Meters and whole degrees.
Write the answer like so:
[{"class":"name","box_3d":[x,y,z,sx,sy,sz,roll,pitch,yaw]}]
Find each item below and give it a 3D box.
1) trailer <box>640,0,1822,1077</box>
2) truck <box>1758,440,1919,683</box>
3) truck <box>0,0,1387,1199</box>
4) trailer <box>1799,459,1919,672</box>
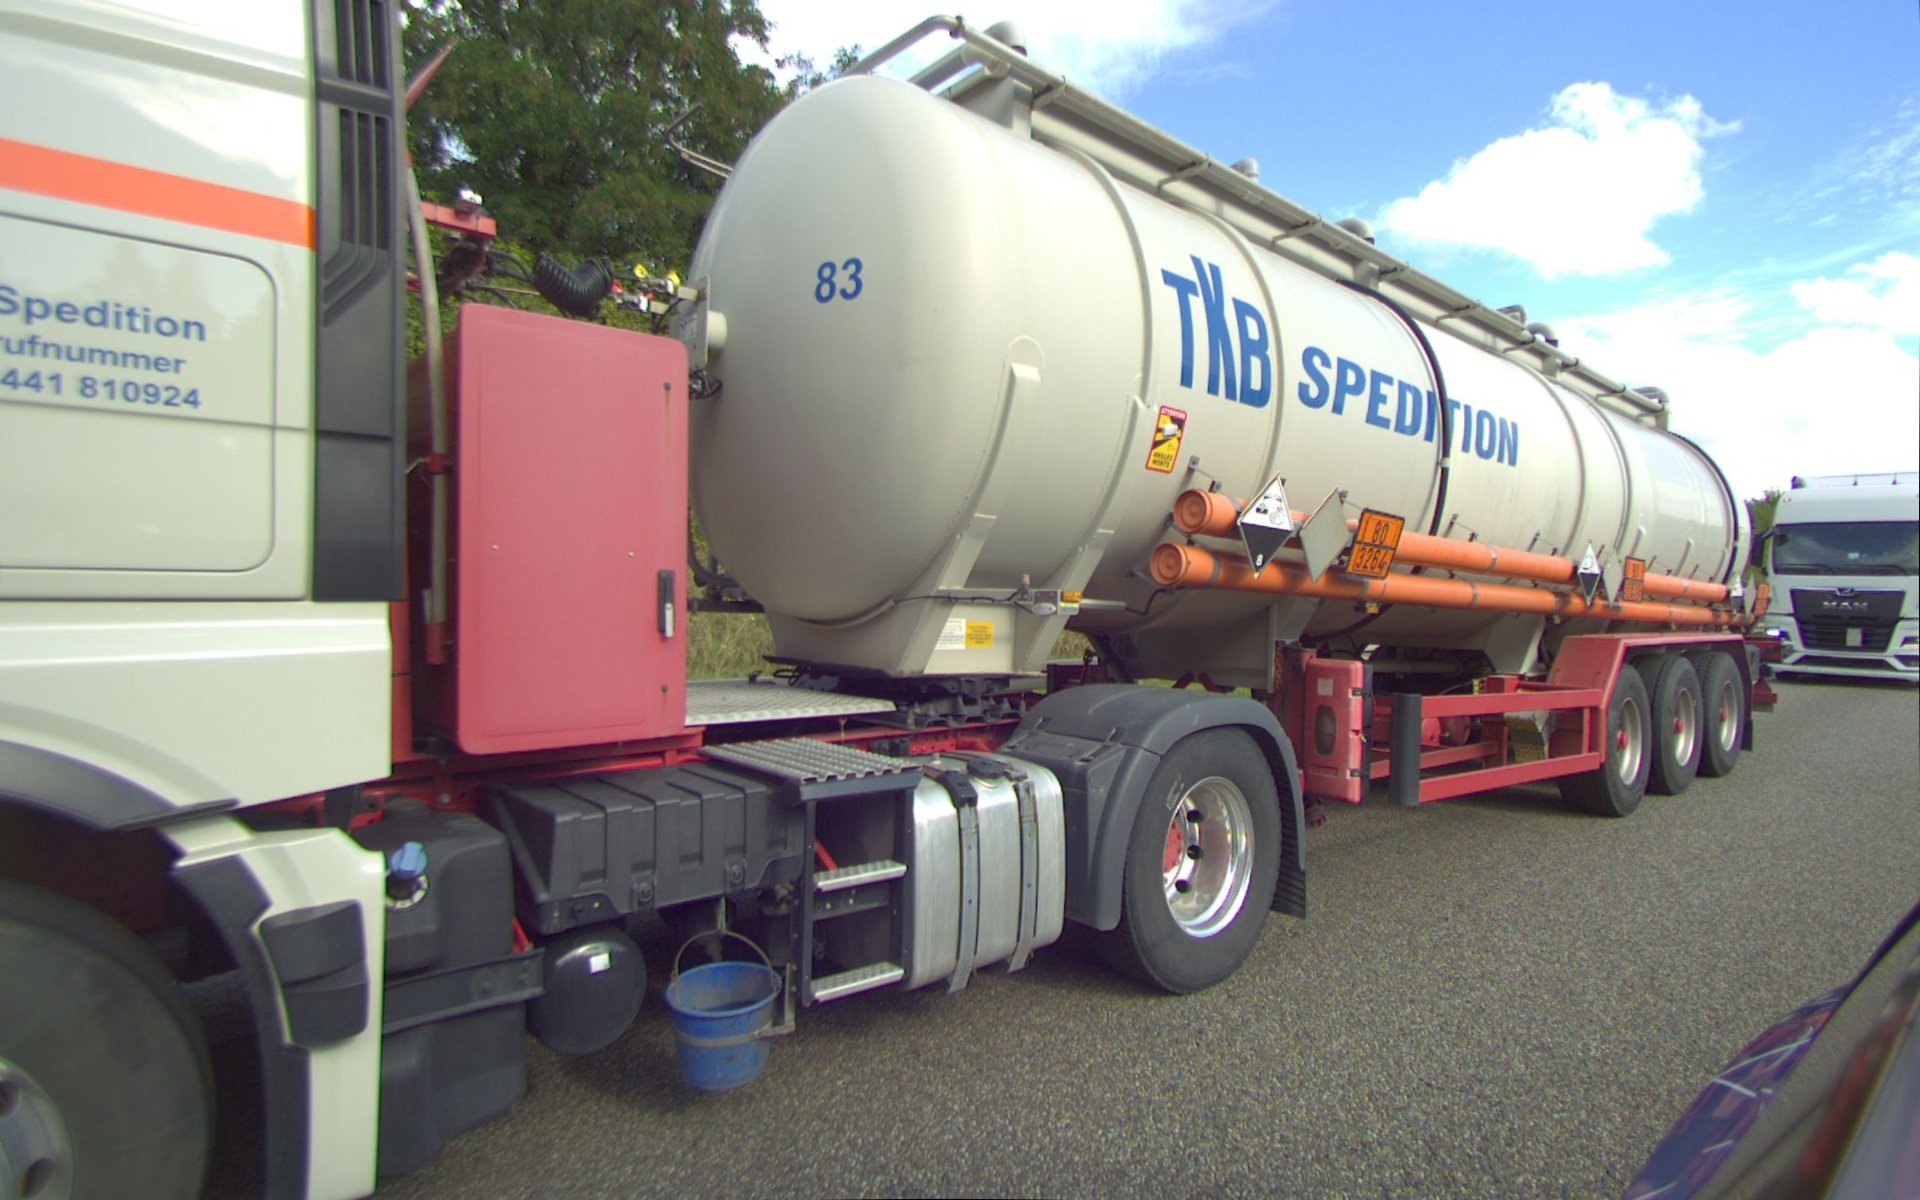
[{"class":"trailer","box_3d":[3.480,-0.717,7.536,10.985,4.077,2.803,0,0,-41]},{"class":"truck","box_3d":[17.890,-0.673,19.562,5.607,4.123,2.839,0,0,-40]},{"class":"truck","box_3d":[-1.338,-0.704,3.384,5.800,4.094,2.808,0,0,-40]},{"class":"trailer","box_3d":[23.337,-0.694,24.217,13.136,4.122,2.831,0,1,-41]}]
